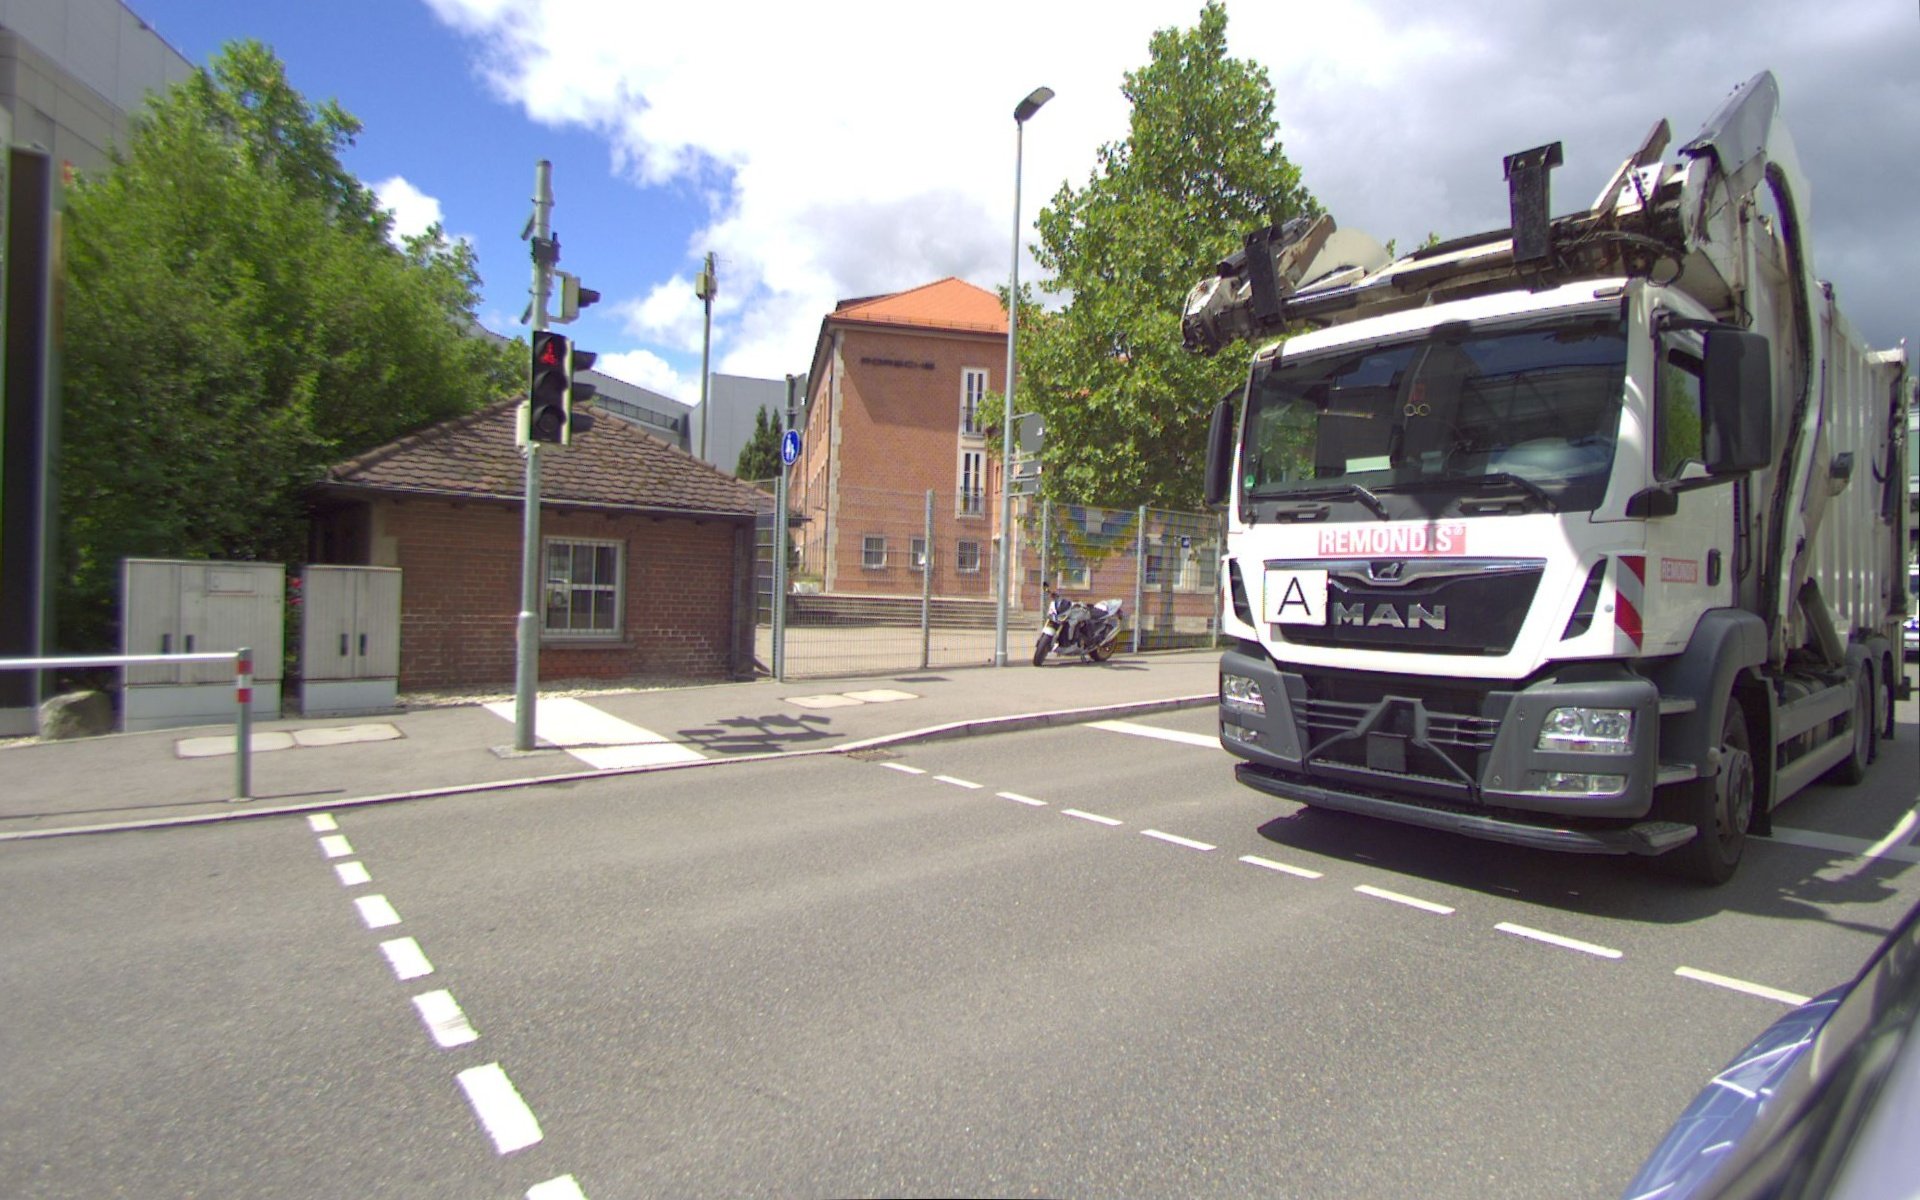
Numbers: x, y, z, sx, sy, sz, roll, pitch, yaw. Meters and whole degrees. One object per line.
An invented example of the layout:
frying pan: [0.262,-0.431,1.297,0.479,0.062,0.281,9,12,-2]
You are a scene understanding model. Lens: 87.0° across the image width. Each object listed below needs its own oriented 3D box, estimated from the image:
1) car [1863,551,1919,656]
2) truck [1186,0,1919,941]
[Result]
car: [21.191,0.049,21.827,4.574,2.120,1.925,-1,1,-40]
truck: [5.865,-0.760,8.293,10.001,3.962,2.492,-2,1,-42]
